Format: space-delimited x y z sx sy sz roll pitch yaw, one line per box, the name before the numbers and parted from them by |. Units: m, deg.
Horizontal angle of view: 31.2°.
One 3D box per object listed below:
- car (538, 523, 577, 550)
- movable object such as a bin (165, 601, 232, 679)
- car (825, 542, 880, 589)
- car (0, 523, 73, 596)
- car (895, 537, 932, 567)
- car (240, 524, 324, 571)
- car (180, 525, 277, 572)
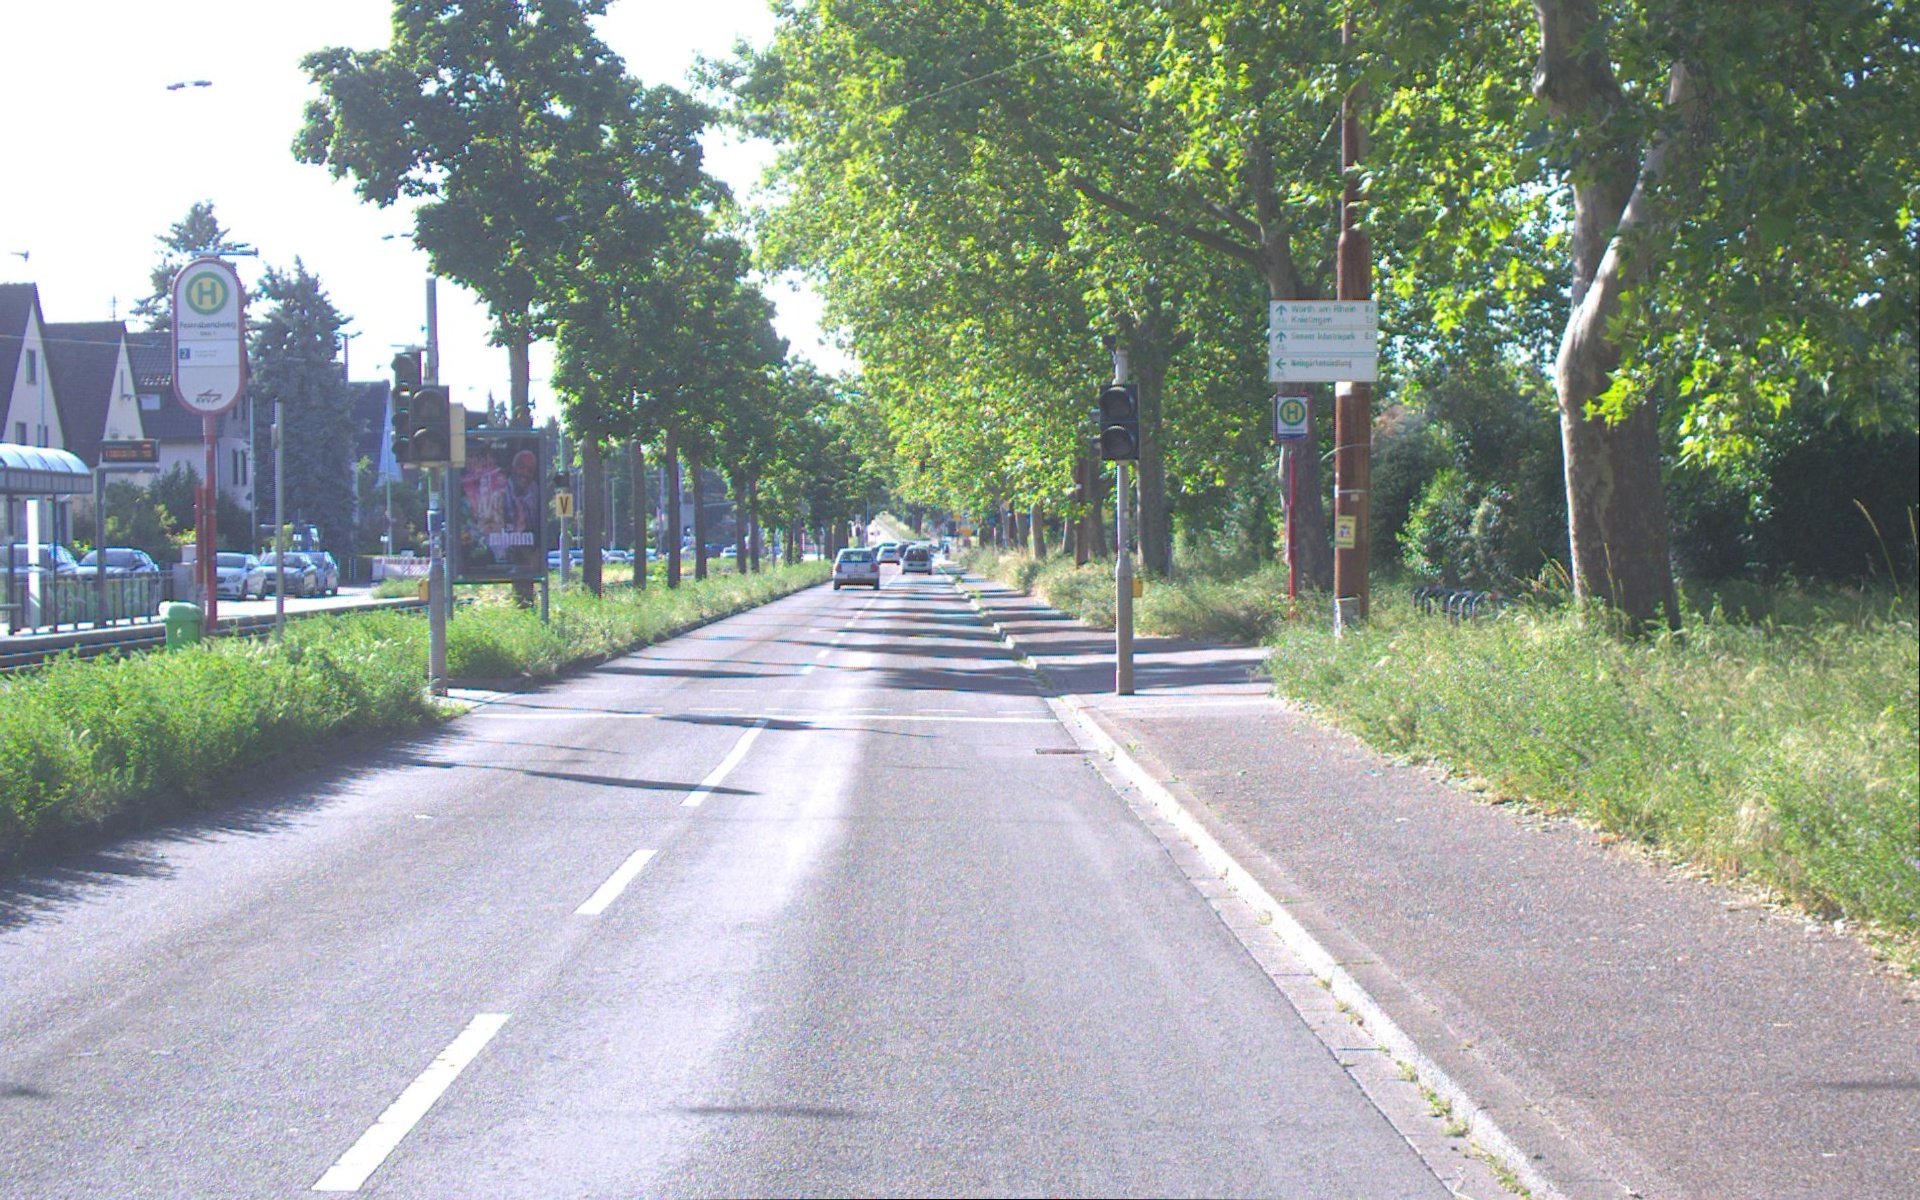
car | -23.931 -3.753 204.309 1.860 1.537 4.228 1 1 -1
movable object such as a bin | -5.864 0.306 26.493 0.386 0.580 0.379 1 1 8
car | -3.749 -1.238 120.795 1.860 1.595 4.228 1 1 -1
car | -23.033 -1.012 83.283 1.993 1.707 4.391 1 1 -1
car | -2.598 -2.691 191.673 1.993 1.598 4.474 1 1 -1
car | -22.790 -1.781 115.638 1.993 1.445 4.128 3 1 -1
car | -22.695 -1.603 106.838 1.993 1.421 4.410 1 1 1
